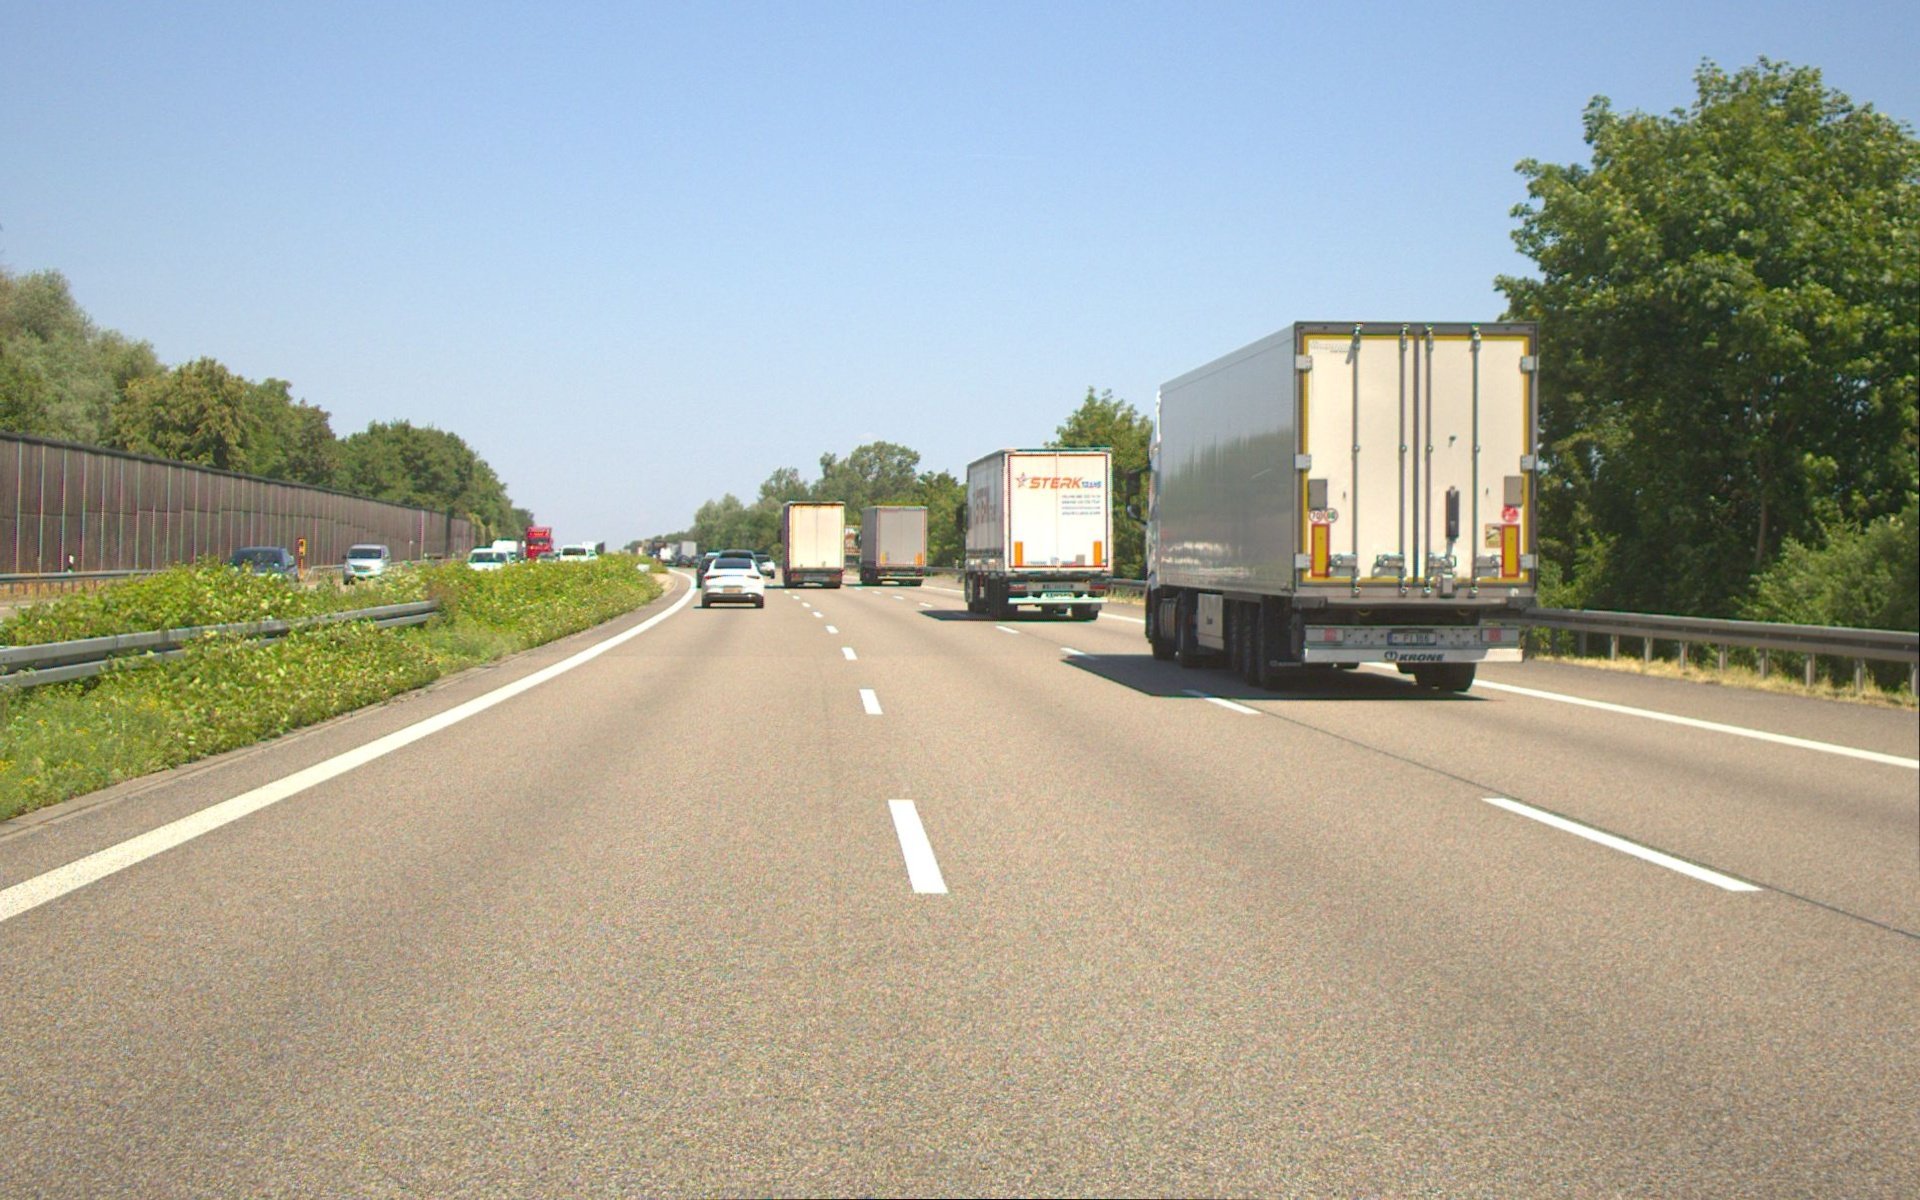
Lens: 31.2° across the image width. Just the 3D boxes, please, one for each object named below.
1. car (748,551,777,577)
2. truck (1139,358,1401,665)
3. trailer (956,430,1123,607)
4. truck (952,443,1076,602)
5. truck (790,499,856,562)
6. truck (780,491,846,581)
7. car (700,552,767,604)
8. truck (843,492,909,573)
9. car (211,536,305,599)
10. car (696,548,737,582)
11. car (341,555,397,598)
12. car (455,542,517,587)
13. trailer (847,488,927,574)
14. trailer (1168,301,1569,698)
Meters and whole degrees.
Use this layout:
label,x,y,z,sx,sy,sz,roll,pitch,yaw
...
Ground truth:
label,x,y,z,sx,sy,sz,roll,pitch,yaw
car,-12.815,-2.341,223.253,1.855,1.611,4.000,1,1,-3
truck,4.321,-1.231,49.216,2.959,4.092,6.207,1,1,-2
trailer,1.852,-1.977,87.206,2.707,4.074,14.153,1,1,-5
truck,1.394,-2.051,92.965,2.707,4.074,6.965,1,1,-4
truck,-10.096,-5.062,252.471,3.373,4.289,11.452,4,0,-8
truck,-7.117,-2.988,165.327,2.706,4.072,13.475,2,0,-4
car,-6.643,-0.644,101.174,1.855,1.481,4.000,1,1,-3
truck,-4.551,-3.576,184.344,2.690,4.201,7.840,2,0,-7
car,-19.157,-0.898,93.946,1.993,1.641,4.694,0,1,-5
car,-11.552,-1.659,163.203,1.855,1.611,4.000,1,1,-3
car,-28.334,-1.156,165.023,1.993,2.007,5.386,1,1,-3
car,-17.882,-1.365,129.843,1.993,1.641,5.046,0,1,-4
trailer,-3.856,-3.520,178.691,2.703,4.201,13.215,2,0,-7
trailer,4.624,-1.131,41.965,2.959,4.092,12.534,1,1,-2
